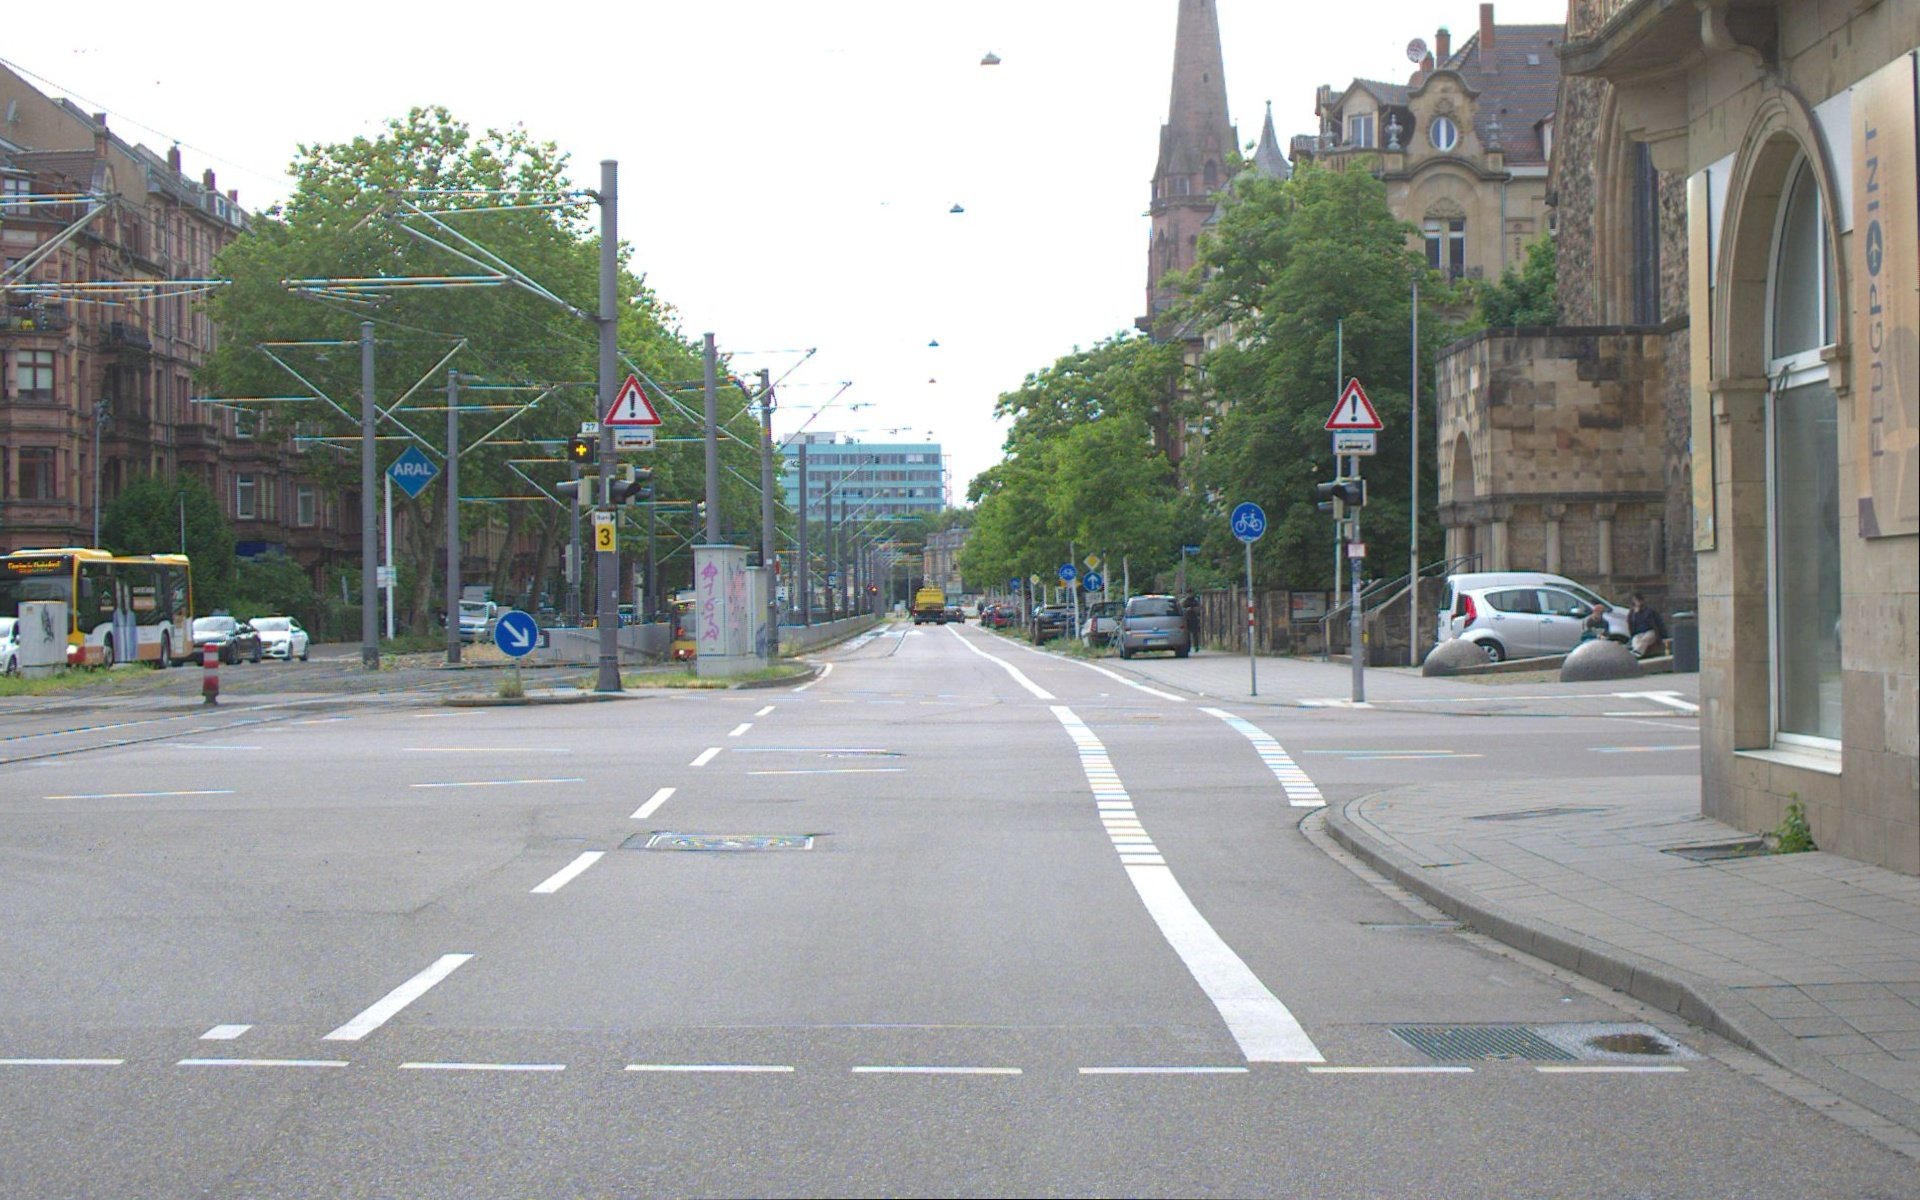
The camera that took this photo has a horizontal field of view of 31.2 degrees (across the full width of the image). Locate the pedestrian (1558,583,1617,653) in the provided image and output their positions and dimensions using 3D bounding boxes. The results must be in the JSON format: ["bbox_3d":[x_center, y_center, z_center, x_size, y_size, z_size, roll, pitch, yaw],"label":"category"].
[{"bbox_3d":[10.834,0.304,59.377,0.736,1.187,1.493,1,0,0],"label":"pedestrian"}]

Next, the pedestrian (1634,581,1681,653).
[{"bbox_3d":[12.172,0.293,59.974,0.737,1.224,1.062,1,0,14],"label":"pedestrian"}]

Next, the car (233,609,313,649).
[{"bbox_3d":[-21.583,0.897,108.132,1.702,1.217,3.890,1,0,0],"label":"car"}]

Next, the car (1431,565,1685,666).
[{"bbox_3d":[11.573,0.290,66.704,4.610,1.875,1.663,1,0,0],"label":"car"}]

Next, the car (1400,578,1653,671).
[{"bbox_3d":[10.389,0.447,63.207,4.348,1.630,1.663,1,0,0],"label":"car"}]

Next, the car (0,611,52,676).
[{"bbox_3d":[-21.899,0.960,77.673,1.702,1.393,3.890,1,0,0],"label":"car"}]

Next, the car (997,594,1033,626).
[{"bbox_3d":[3.307,0.616,209.052,1.993,1.919,4.000,1,0,-1],"label":"car"}]

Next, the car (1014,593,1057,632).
[{"bbox_3d":[3.740,0.621,170.790,1.993,1.875,4.000,0,0,-1],"label":"car"}]

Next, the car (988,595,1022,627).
[{"bbox_3d":[2.835,0.673,216.660,1.993,2.007,4.000,1,0,-1],"label":"car"}]

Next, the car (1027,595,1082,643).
[{"bbox_3d":[3.670,0.734,134.559,1.993,1.814,4.000,0,0,-1],"label":"car"}]

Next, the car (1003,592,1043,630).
[{"bbox_3d":[3.465,0.596,189.253,1.993,2.007,4.000,1,0,-1],"label":"car"}]

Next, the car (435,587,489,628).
[{"bbox_3d":[-21.403,0.300,147.866,1.702,1.706,3.890,1,0,0],"label":"car"}]

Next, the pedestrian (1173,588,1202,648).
[{"bbox_3d":[6.367,0.503,96.141,0.776,1.642,0.798,1,0,6],"label":"pedestrian"}]

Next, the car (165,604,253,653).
[{"bbox_3d":[-22.040,0.828,100.963,1.702,1.354,3.890,1,0,0],"label":"car"}]
